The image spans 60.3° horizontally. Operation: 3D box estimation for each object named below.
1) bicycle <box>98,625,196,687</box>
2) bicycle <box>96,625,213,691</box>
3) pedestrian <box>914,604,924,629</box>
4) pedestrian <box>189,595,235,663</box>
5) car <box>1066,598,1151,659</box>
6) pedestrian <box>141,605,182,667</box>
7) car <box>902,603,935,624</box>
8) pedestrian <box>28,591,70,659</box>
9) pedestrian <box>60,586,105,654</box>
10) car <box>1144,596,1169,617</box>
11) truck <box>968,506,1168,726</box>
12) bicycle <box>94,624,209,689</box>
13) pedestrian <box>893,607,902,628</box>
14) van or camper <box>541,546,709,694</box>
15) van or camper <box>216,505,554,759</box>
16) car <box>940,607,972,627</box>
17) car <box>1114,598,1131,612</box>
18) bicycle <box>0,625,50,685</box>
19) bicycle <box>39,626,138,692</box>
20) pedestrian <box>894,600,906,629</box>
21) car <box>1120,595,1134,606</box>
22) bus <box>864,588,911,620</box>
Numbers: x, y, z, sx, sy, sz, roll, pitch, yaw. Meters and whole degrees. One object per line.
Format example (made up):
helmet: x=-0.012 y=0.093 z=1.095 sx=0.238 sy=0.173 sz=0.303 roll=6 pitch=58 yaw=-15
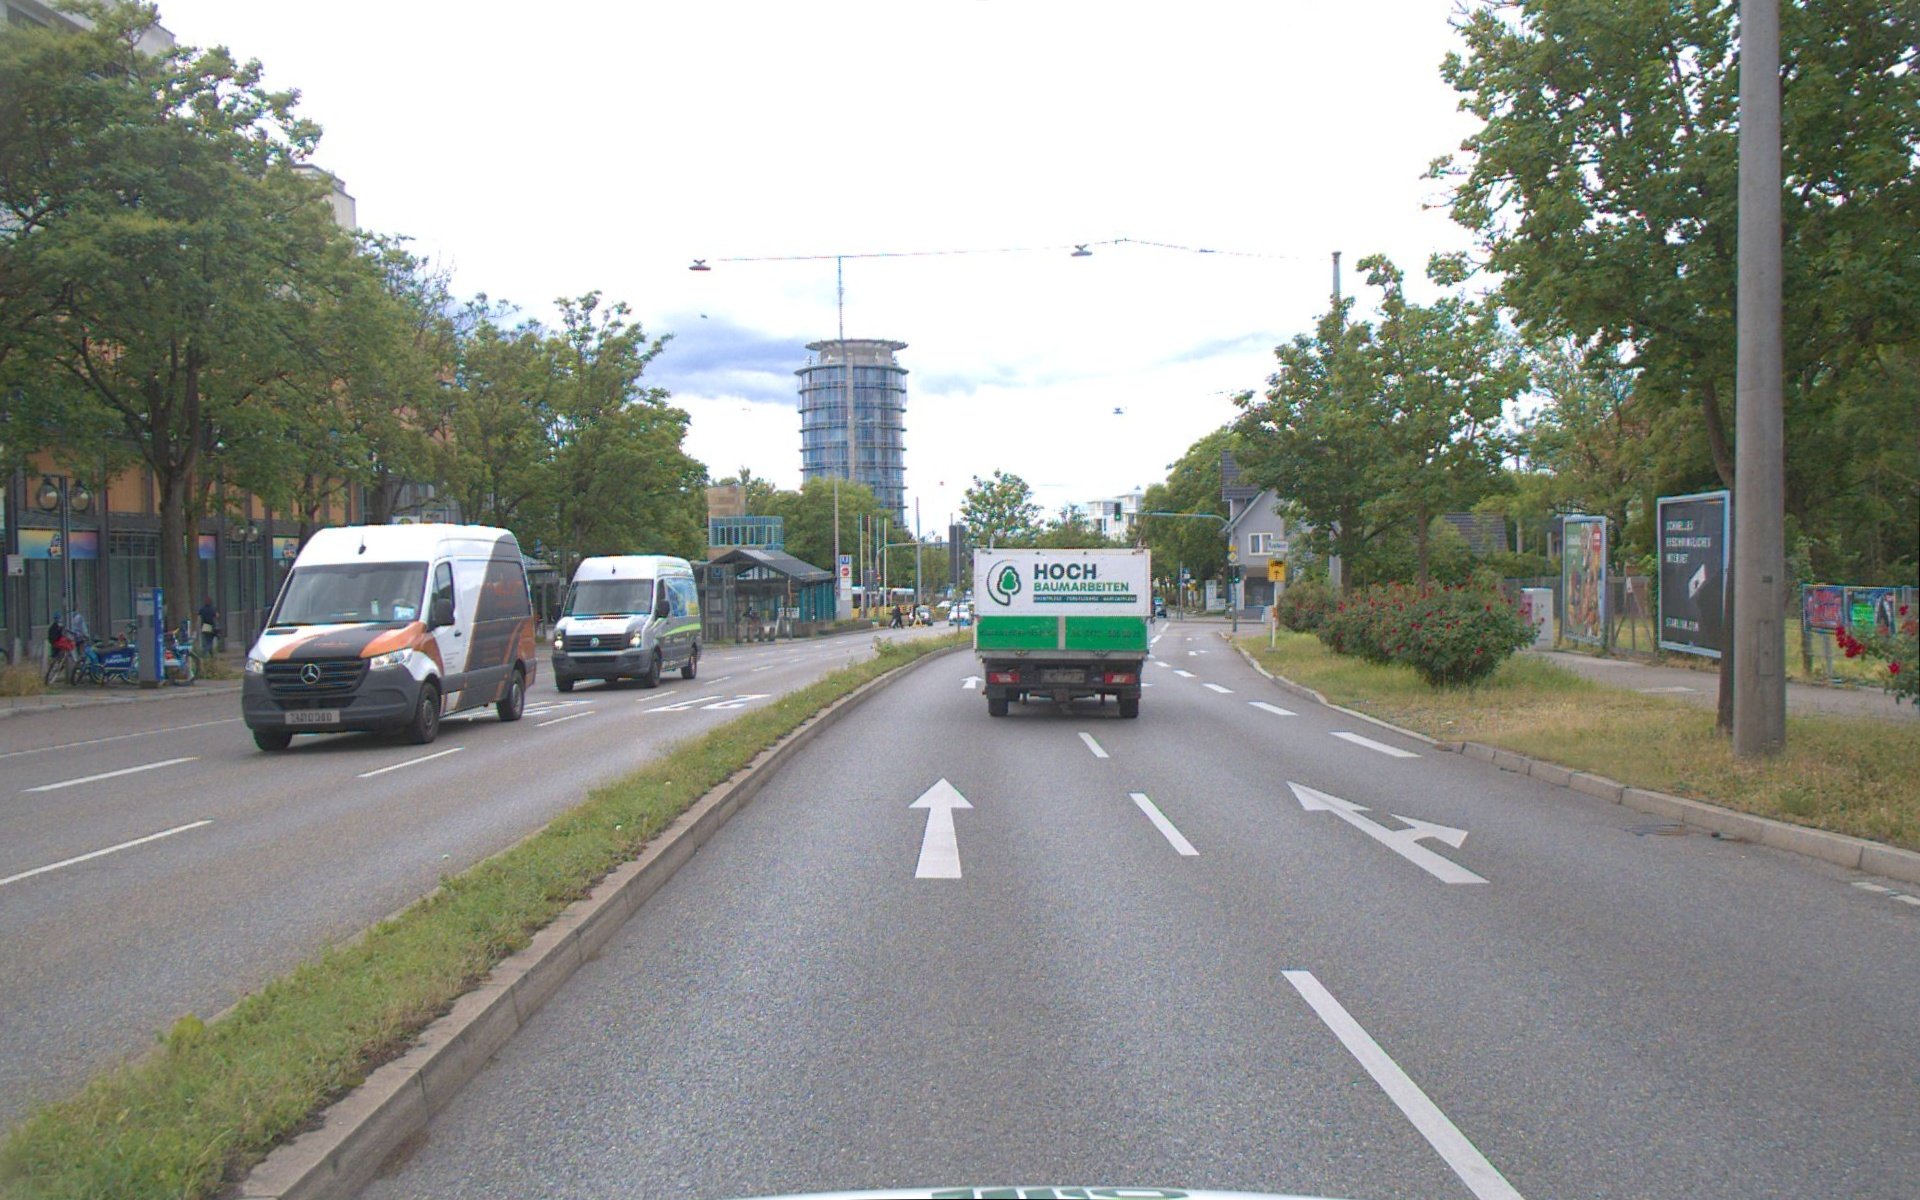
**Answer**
bicycle: x=-16.536 y=1.120 z=33.678 sx=0.593 sy=1.181 sz=1.682 roll=-1 pitch=0 yaw=38
bicycle: x=-15.436 y=1.091 z=31.735 sx=0.593 sy=1.181 sz=1.955 roll=1 pitch=1 yaw=40
pedestrian: x=-2.891 y=1.143 z=115.968 sx=0.640 sy=1.746 sz=0.452 roll=-1 pitch=-1 yaw=1
pedestrian: x=-19.602 y=0.765 z=43.355 sx=0.758 sy=1.746 sz=0.786 roll=1 pitch=0 yaw=25
car: x=4.137 y=0.770 z=46.741 sx=1.830 sy=1.531 sz=4.772 roll=-1 pitch=1 yaw=-2
pedestrian: x=-22.755 y=1.024 z=47.144 sx=0.754 sy=1.746 sz=0.789 roll=1 pitch=0 yaw=-1
car: x=-3.155 y=1.046 z=127.562 sx=1.951 sy=1.512 sz=4.003 roll=-2 pitch=-1 yaw=7
pedestrian: x=-21.953 y=0.594 z=39.846 sx=0.619 sy=1.628 sz=0.623 roll=1 pitch=0 yaw=4
pedestrian: x=-21.092 y=0.485 z=39.776 sx=0.652 sy=1.611 sz=0.707 roll=1 pitch=0 yaw=2
car: x=16.062 y=0.526 z=135.388 sx=1.951 sy=1.579 sz=4.003 roll=-2 pitch=0 yaw=7
truck: x=1.579 y=0.145 z=23.327 sx=2.418 sy=2.657 sz=6.552 roll=0 pitch=1 yaw=5
bicycle: x=-15.870 y=1.098 z=32.493 sx=0.593 sy=1.181 sz=1.956 roll=-1 pitch=0 yaw=39
pedestrian: x=-4.414 y=1.241 z=117.612 sx=0.531 sy=1.522 sz=0.487 roll=-1 pitch=-1 yaw=6
van or camper: x=-6.685 y=0.354 z=33.752 sx=1.990 sy=2.643 sz=6.116 roll=-3 pitch=0 yaw=1
van or camper: x=-6.948 y=0.329 z=20.877 sx=1.953 sy=2.643 sz=6.116 roll=-3 pitch=0 yaw=1
car: x=-0.288 y=1.294 z=126.791 sx=1.951 sy=1.512 sz=4.003 roll=-2 pitch=-1 yaw=7
car: x=19.021 y=0.546 z=193.571 sx=1.951 sy=1.579 sz=4.002 roll=-2 pitch=0 yaw=5
bicycle: x=-19.528 y=1.126 z=33.296 sx=2.003 sy=1.181 sz=0.663 roll=-2 pitch=0 yaw=-44
bicycle: x=-16.988 y=1.134 z=32.283 sx=0.590 sy=1.181 sz=1.967 roll=-1 pitch=0 yaw=11
pedestrian: x=-4.242 y=1.013 z=116.647 sx=0.813 sy=2.049 sz=0.546 roll=-1 pitch=-1 yaw=1
car: x=25.397 y=0.086 z=251.658 sx=1.951 sy=1.579 sz=4.002 roll=-2 pitch=0 yaw=5
bus: x=-8.367 y=0.468 z=192.150 sx=2.771 sy=3.491 sz=10.742 roll=-2 pitch=-1 yaw=12
